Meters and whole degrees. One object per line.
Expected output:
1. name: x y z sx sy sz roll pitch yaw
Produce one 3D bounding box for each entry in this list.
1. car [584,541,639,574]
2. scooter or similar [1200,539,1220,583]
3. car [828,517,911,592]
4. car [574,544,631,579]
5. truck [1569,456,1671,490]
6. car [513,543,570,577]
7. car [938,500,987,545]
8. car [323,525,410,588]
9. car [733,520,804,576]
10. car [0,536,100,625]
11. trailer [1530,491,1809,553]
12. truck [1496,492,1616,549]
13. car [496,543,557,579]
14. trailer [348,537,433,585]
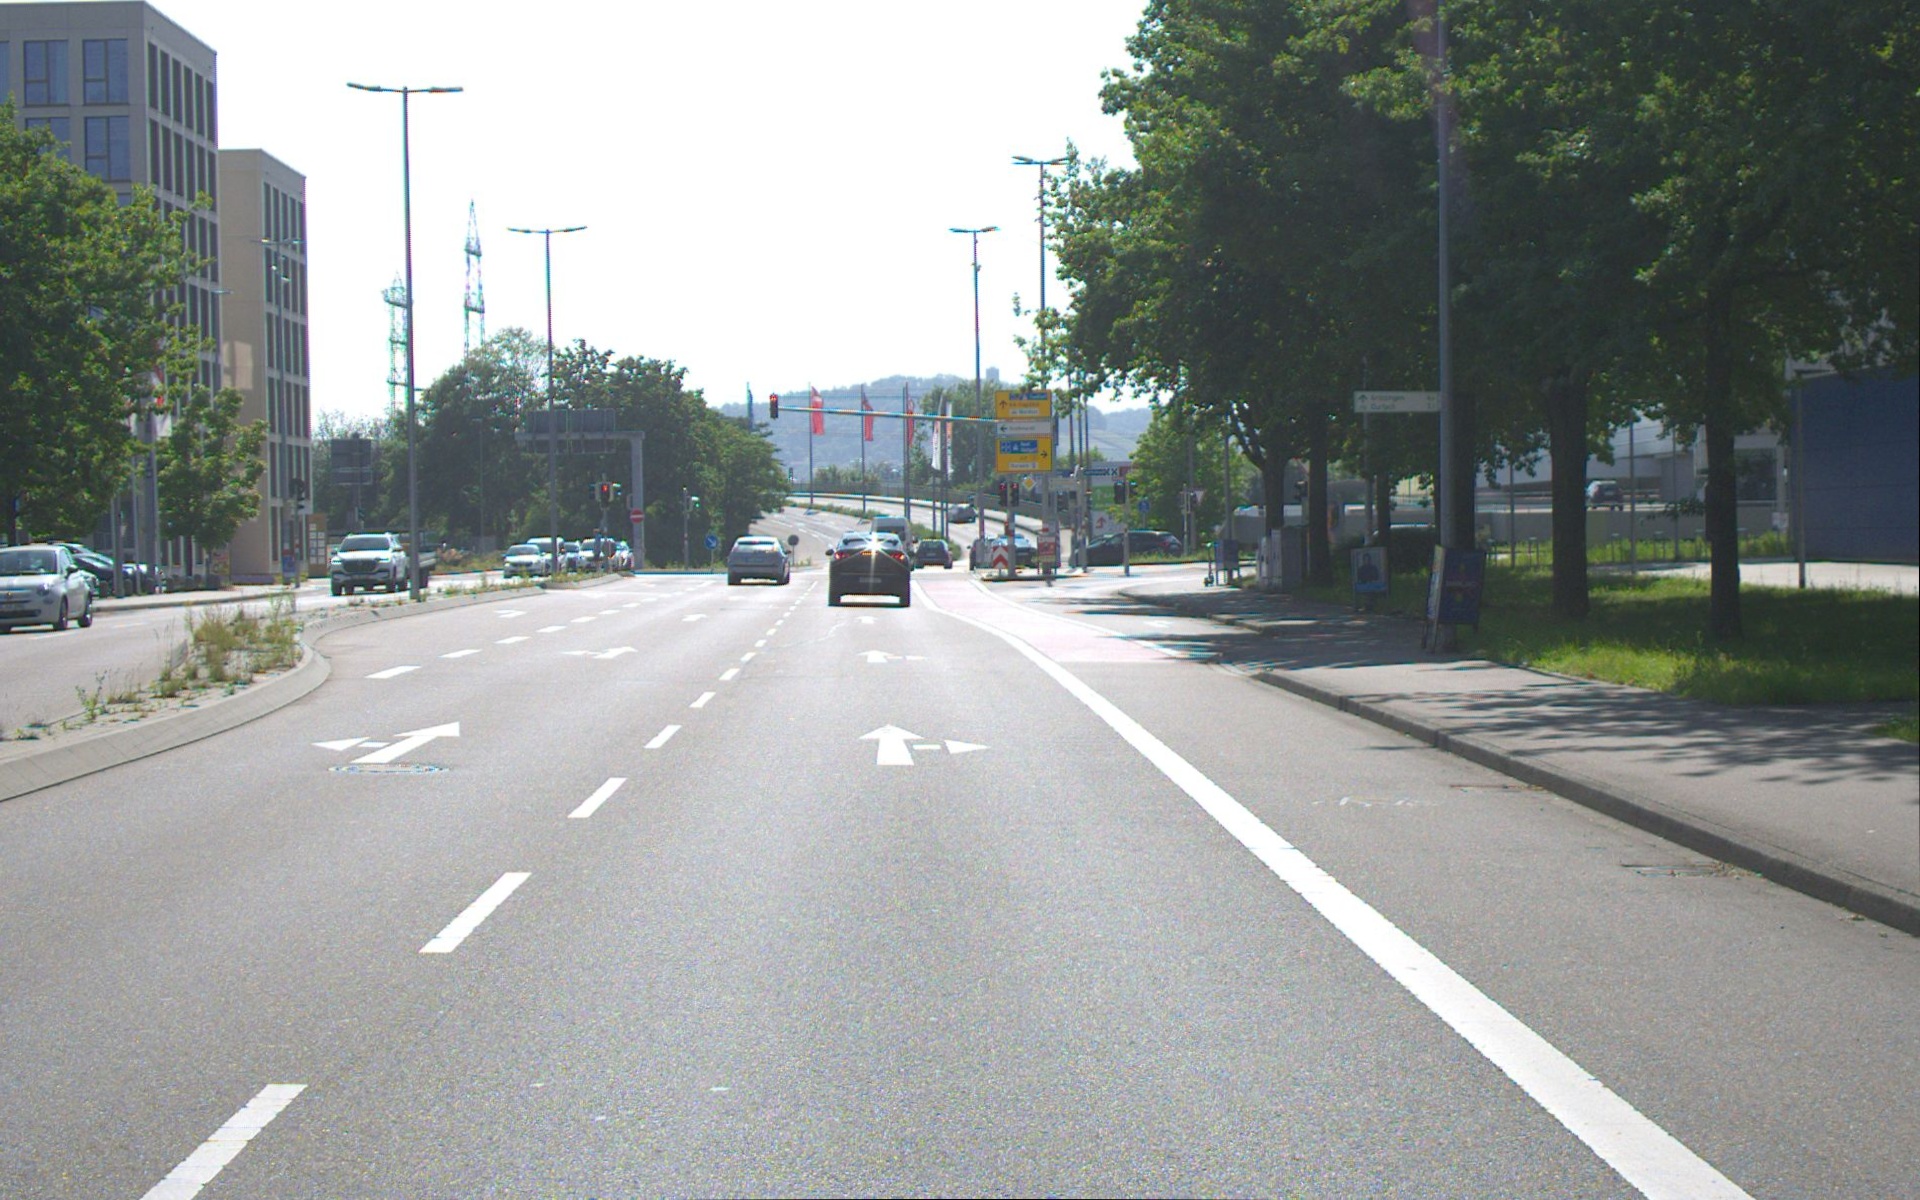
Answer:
1. car: -15.894 -1.952 157.023 1.816 1.459 4.000 -1 1 4
2. scooter or similar: 7.156 -1.109 98.289 0.351 1.229 1.310 -1 1 13
3. car: -2.058 -1.066 79.079 1.807 1.634 4.459 -1 1 0
4. car: -15.601 -1.683 150.054 1.816 1.459 4.000 -1 1 4
5. truck: 41.064 -7.915 214.050 5.910 2.006 2.000 1 2 2
6. car: -19.022 -1.840 156.332 1.816 1.459 4.000 -1 1 4
7. car: 0.085 -3.244 143.357 1.757 1.752 3.603 1 2 -4
8. car: -17.991 -1.327 104.397 1.993 1.826 4.938 -1 1 -3
9. car: -6.001 -1.641 108.261 1.993 1.678 4.000 -1 1 0
10. car: -16.158 -0.350 59.742 1.653 1.459 3.551 -3 1 -3
11. trailer: 31.435 -3.456 152.503 11.870 2.460 2.000 1 2 0
12. truck: 26.430 -3.538 152.478 4.880 2.415 2.000 1 2 -1
13. car: -18.756 -1.695 148.847 1.892 1.459 4.000 -1 1 4
14. trailer: -18.153 -1.267 109.762 1.993 1.448 5.773 -1 1 -3
